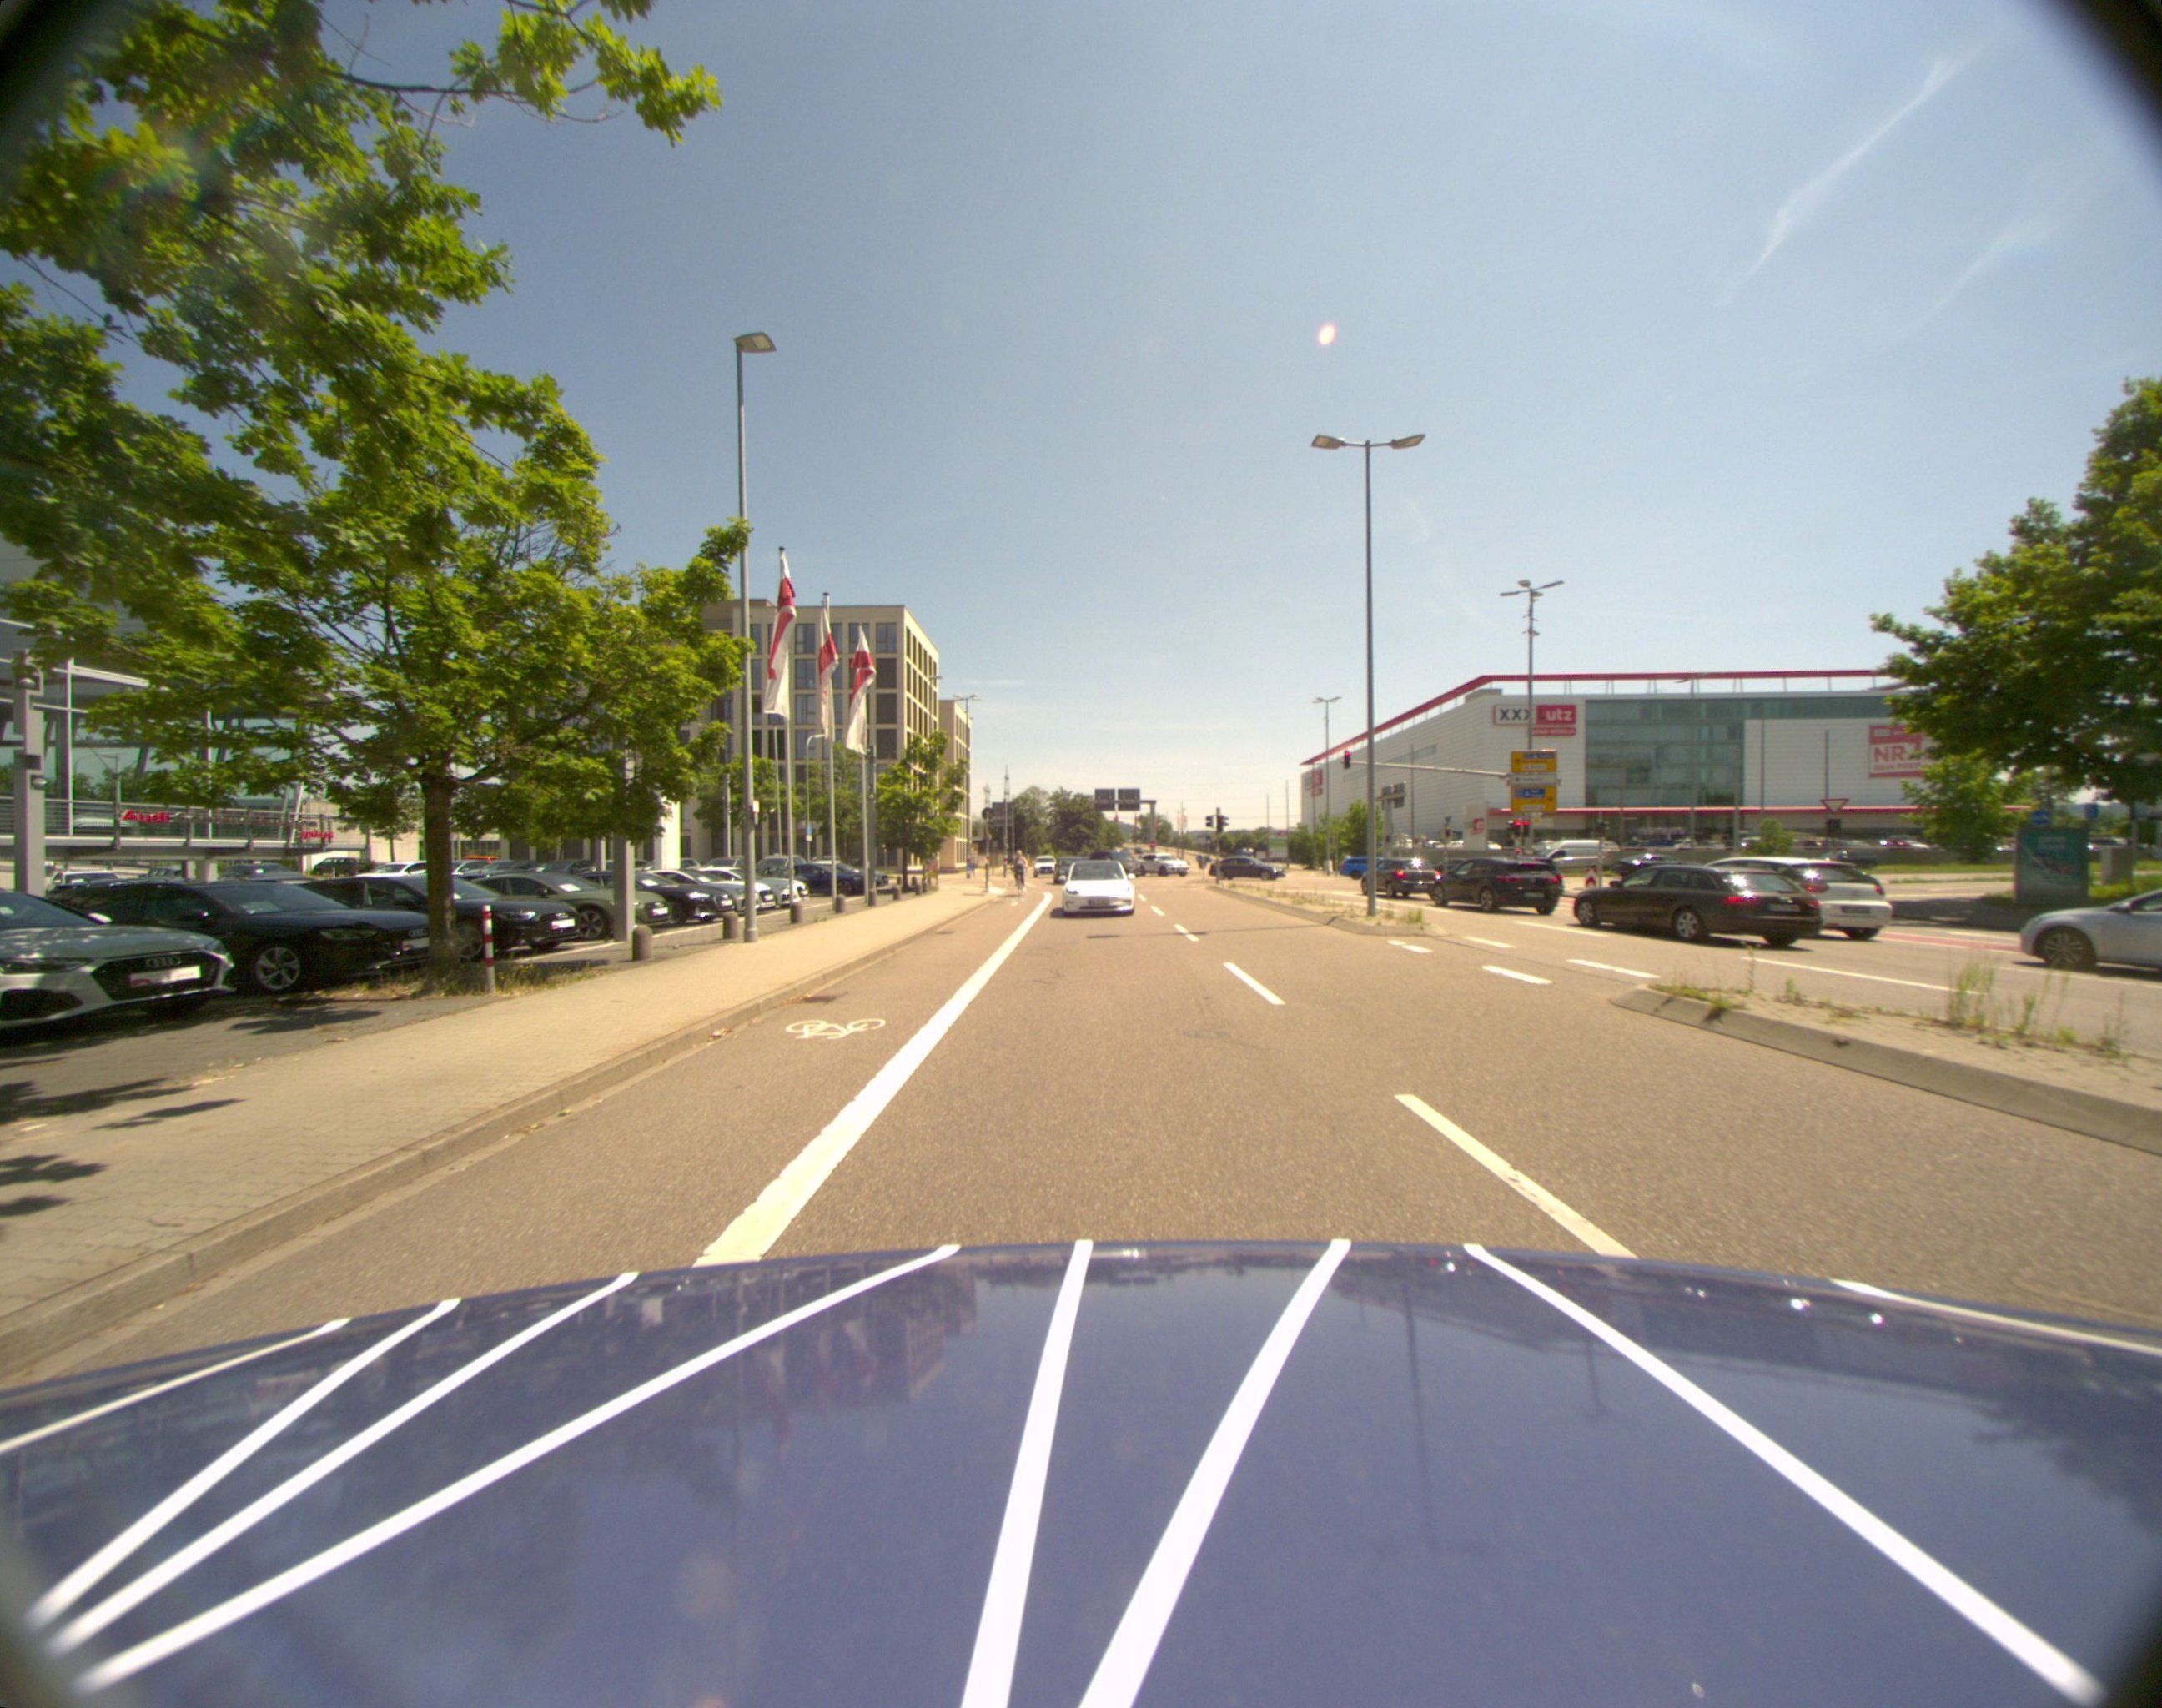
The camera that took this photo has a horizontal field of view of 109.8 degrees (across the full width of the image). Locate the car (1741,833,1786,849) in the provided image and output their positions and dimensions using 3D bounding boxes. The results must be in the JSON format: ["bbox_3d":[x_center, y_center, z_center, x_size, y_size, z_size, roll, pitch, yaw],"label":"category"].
[{"bbox_3d":[84.170,-1.565,93.745,1.998,1.890,4.000,0,0,2],"label":"car"}]

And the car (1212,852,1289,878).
[{"bbox_3d":[9.957,0.618,44.739,4.078,1.374,1.774,0,2,33],"label":"car"}]

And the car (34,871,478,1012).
[{"bbox_3d":[-10.451,1.055,9.872,3.691,1.445,1.834,-3,1,0],"label":"car"}]

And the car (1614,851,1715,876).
[{"bbox_3d":[33.456,0.513,43.648,4.462,1.396,1.677,0,0,2],"label":"car"}]

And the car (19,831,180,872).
[{"bbox_3d":[-48.316,-0.124,37.496,5.249,1.955,1.913,0,0,-2],"label":"car"}]

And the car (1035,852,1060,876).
[{"bbox_3d":[-2.546,0.756,58.442,1.799,1.728,3.820,0,0,-1],"label":"car"}]

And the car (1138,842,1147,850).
[{"bbox_3d":[16.198,-2.138,199.306,1.998,1.892,4.000,-2,0,1],"label":"car"}]

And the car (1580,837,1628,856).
[{"bbox_3d":[55.995,-0.813,81.391,1.999,2.002,4.328,0,0,-3],"label":"car"}]

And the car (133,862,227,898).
[{"bbox_3d":[-42.194,1.197,35.573,3.792,1.496,1.690,0,3,22],"label":"car"}]

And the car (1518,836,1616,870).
[{"bbox_3d":[31.725,-0.039,49.744,5.043,2.170,2.001,0,0,5],"label":"car"}]

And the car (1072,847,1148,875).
[{"bbox_3d":[1.956,0.441,52.097,5.107,1.811,2.004,0,1,42],"label":"car"}]

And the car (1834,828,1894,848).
[{"bbox_3d":[83.725,-1.673,81.351,1.998,2.002,4.329,0,0,1],"label":"car"}]

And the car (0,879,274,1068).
[{"bbox_3d":[-10.373,1.082,7.072,3.691,1.445,1.834,-3,1,0],"label":"car"}]

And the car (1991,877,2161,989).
[{"bbox_3d":[15.181,1.089,9.606,1.751,1.414,4.623,1,0,0],"label":"car"}]

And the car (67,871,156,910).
[{"bbox_3d":[-42.933,1.553,33.634,3.987,1.562,1.854,0,1,30],"label":"car"}]

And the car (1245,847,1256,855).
[{"bbox_3d":[48.166,-0.812,215.902,2.192,2.270,4.814,0,0,3],"label":"car"}]

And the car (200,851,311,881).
[{"bbox_3d":[-48.269,0.706,44.498,4.584,1.684,1.914,0,0,3],"label":"car"}]

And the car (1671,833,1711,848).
[{"bbox_3d":[79.419,-1.746,98.978,1.998,2.002,4.000,0,0,1],"label":"car"}]

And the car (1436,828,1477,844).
[{"bbox_3d":[47.978,-2.288,97.119,4.470,2.002,1.679,0,0,2],"label":"car"}]

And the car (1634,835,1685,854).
[{"bbox_3d":[61.615,-0.997,80.970,1.999,2.002,4.328,0,0,-3],"label":"car"}]

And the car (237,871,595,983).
[{"bbox_3d":[-10.591,1.121,12.351,4.111,1.445,1.869,-3,1,0],"label":"car"}]

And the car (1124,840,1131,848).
[{"bbox_3d":[12.214,-2.553,199.356,1.773,2.002,3.806,-2,0,1],"label":"car"}]

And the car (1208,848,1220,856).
[{"bbox_3d":[27.997,-0.369,160.230,1.998,1.587,3.999,-1,1,1],"label":"car"}]

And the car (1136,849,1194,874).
[{"bbox_3d":[5.915,0.561,54.145,1.773,1.631,4.481,-2,0,-29],"label":"car"}]

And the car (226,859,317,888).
[{"bbox_3d":[-42.508,0.994,39.894,4.604,1.463,1.853,0,1,25],"label":"car"}]

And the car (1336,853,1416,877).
[{"bbox_3d":[17.810,0.660,45.964,4.421,1.394,1.773,-1,0,20],"label":"car"}]

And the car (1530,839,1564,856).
[{"bbox_3d":[59.229,-0.832,96.605,1.782,2.002,4.233,0,0,1],"label":"car"}]

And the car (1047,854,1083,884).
[{"bbox_3d":[-0.822,0.784,40.875,1.556,1.528,3.822,0,0,4],"label":"car"}]

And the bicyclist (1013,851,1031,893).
[{"bbox_3d":[-2.279,0.695,29.609,0.629,1.596,0.825,-2,1,-3],"label":"bicyclist"}]

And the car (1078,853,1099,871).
[{"bbox_3d":[0.646,0.691,65.493,1.556,1.528,3.822,0,0,4],"label":"car"}]

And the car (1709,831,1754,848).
[{"bbox_3d":[79.230,-1.725,92.601,1.998,2.002,4.000,0,0,1],"label":"car"}]
